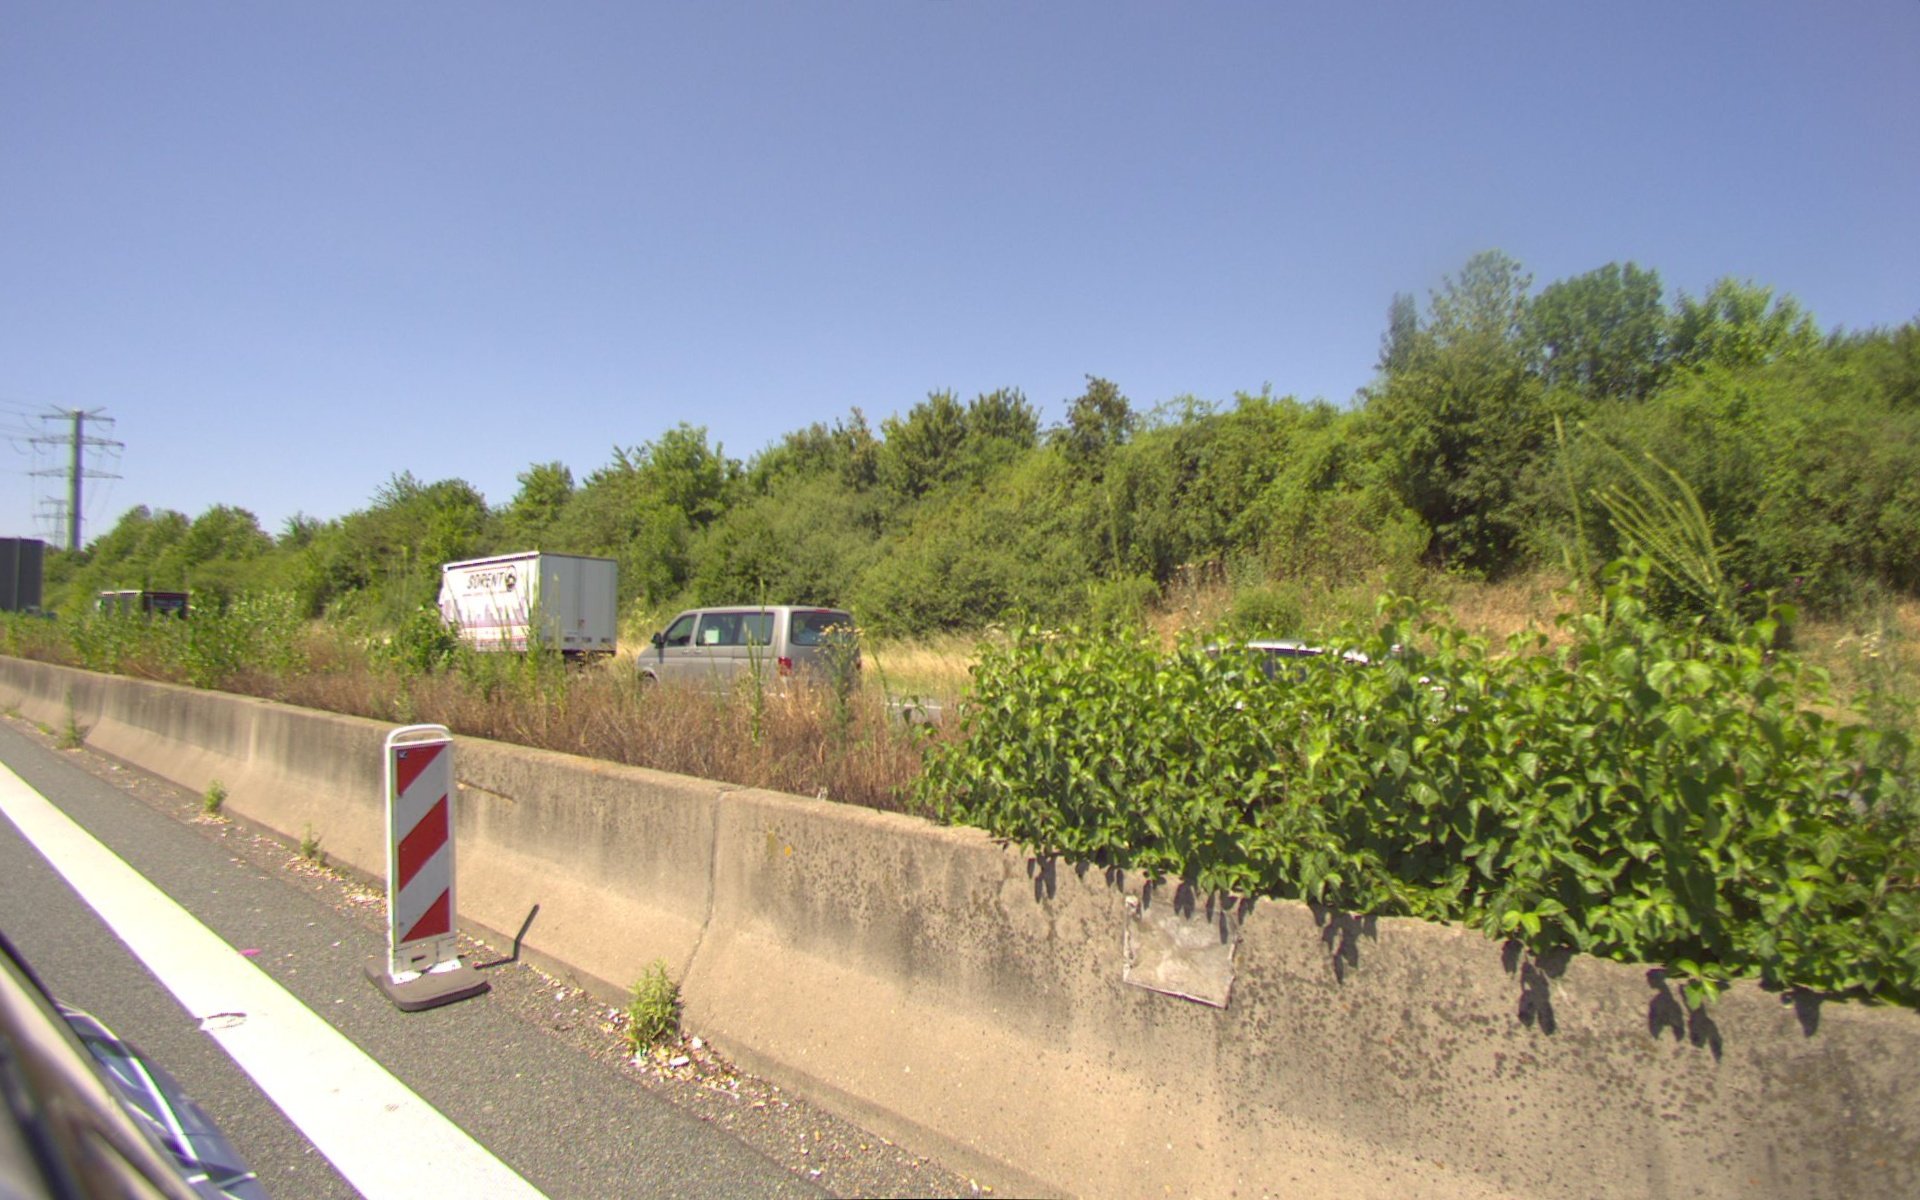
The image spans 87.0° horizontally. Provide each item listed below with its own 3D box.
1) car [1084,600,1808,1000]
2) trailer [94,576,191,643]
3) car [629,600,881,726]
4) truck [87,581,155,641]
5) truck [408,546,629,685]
[{"bbox_3d":[3.044,1.045,6.869,4.108,1.903,1.694,-1,-5,41],"label":"car"},{"bbox_3d":[-57.574,0.757,71.048,14.190,4.199,2.724,-1,-5,41],"label":"trailer"},{"bbox_3d":[-3.642,1.059,17.563,4.427,1.903,1.919,-1,-5,41],"label":"car"},{"bbox_3d":[-62.527,0.850,75.380,6.408,4.199,2.722,-1,-5,41],"label":"truck"},{"bbox_3d":[-14.424,0.600,32.620,9.025,3.918,2.733,-1,-5,41],"label":"truck"}]
